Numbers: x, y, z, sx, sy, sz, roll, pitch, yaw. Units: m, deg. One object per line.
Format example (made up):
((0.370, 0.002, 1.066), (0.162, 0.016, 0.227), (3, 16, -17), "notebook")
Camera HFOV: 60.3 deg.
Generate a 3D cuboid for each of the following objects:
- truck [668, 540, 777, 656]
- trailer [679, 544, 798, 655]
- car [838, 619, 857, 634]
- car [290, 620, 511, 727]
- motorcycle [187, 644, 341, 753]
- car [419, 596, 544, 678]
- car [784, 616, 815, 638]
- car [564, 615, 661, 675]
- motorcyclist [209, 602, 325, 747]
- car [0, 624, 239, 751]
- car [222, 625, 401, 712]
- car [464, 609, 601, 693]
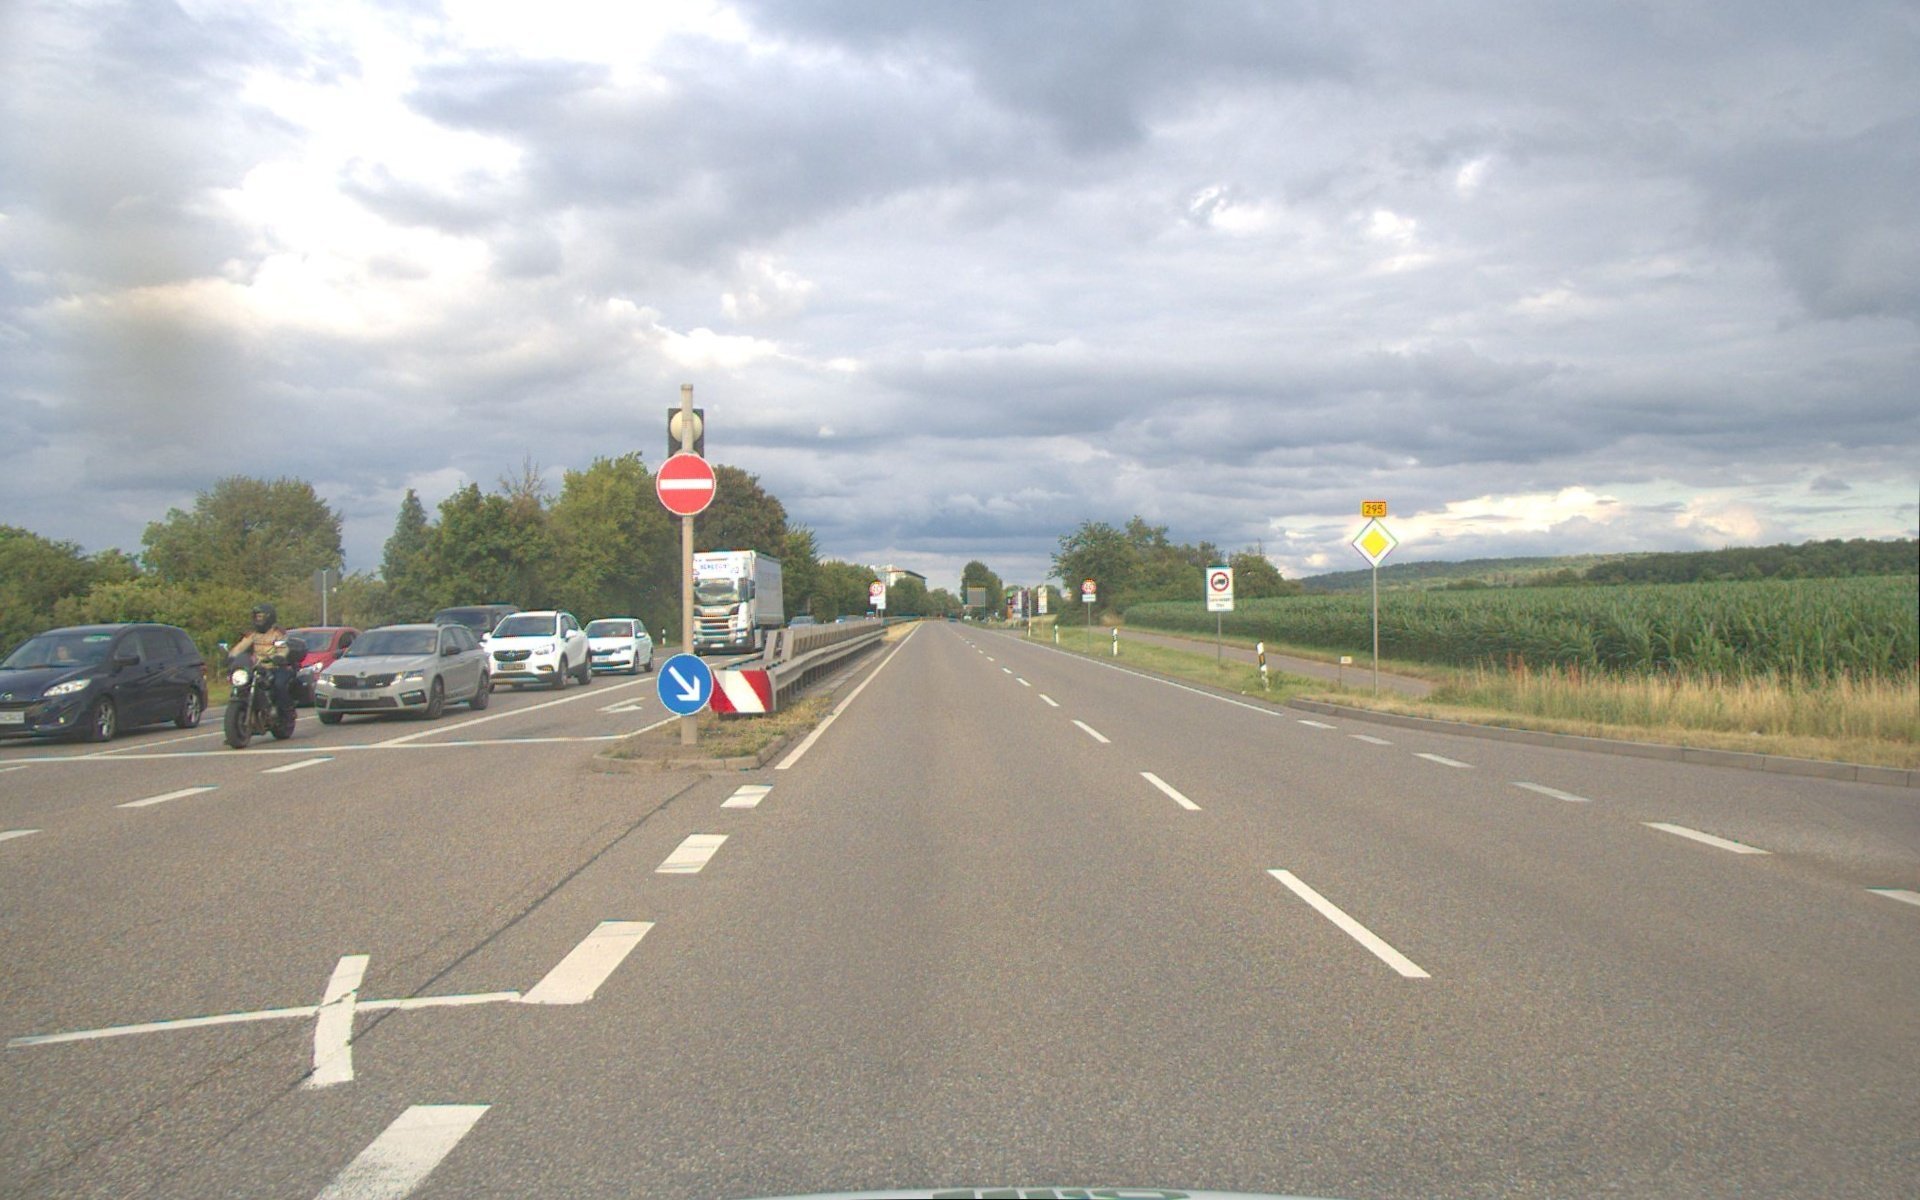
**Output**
((-9.291, -0.048, 65.408), (3.404, 4.223, 6.048), (-2, -1, -1), "truck")
((-9.416, 0.032, 72.043), (3.395, 4.223, 13.912), (-2, 0, -1), "trailer")
((-12.395, 2.937, 182.083), (1.829, 1.503, 4.824), (-1, 0, -1), "car")
((-8.775, 1.091, 26.464), (1.869, 1.453, 5.150), (-1, 0, -1), "car")
((-8.739, 1.204, 20.909), (0.898, 1.224, 2.478), (-2, -1, -1), "motorcycle")
((-12.963, 0.984, 45.156), (1.953, 2.049, 4.946), (-2, -1, -1), "car")
((-10.995, 1.869, 113.612), (1.753, 1.410, 4.159), (-1, 0, -1), "car")
((-9.186, 1.151, 43.994), (1.753, 1.470, 4.159), (-1, 0, -1), "car")
((-8.738, 0.918, 20.912), (0.898, 1.738, 1.275), (-2, -1, -1), "motorcyclist")
((-12.370, 1.172, 23.827), (1.869, 1.562, 4.937), (-1, 0, -1), "car")
((-12.491, 1.271, 32.141), (1.869, 1.490, 4.183), (-1, 0, -1), "car")
((-9.117, 1.039, 35.629), (1.869, 1.638, 4.403), (-1, 0, -1), "car")
